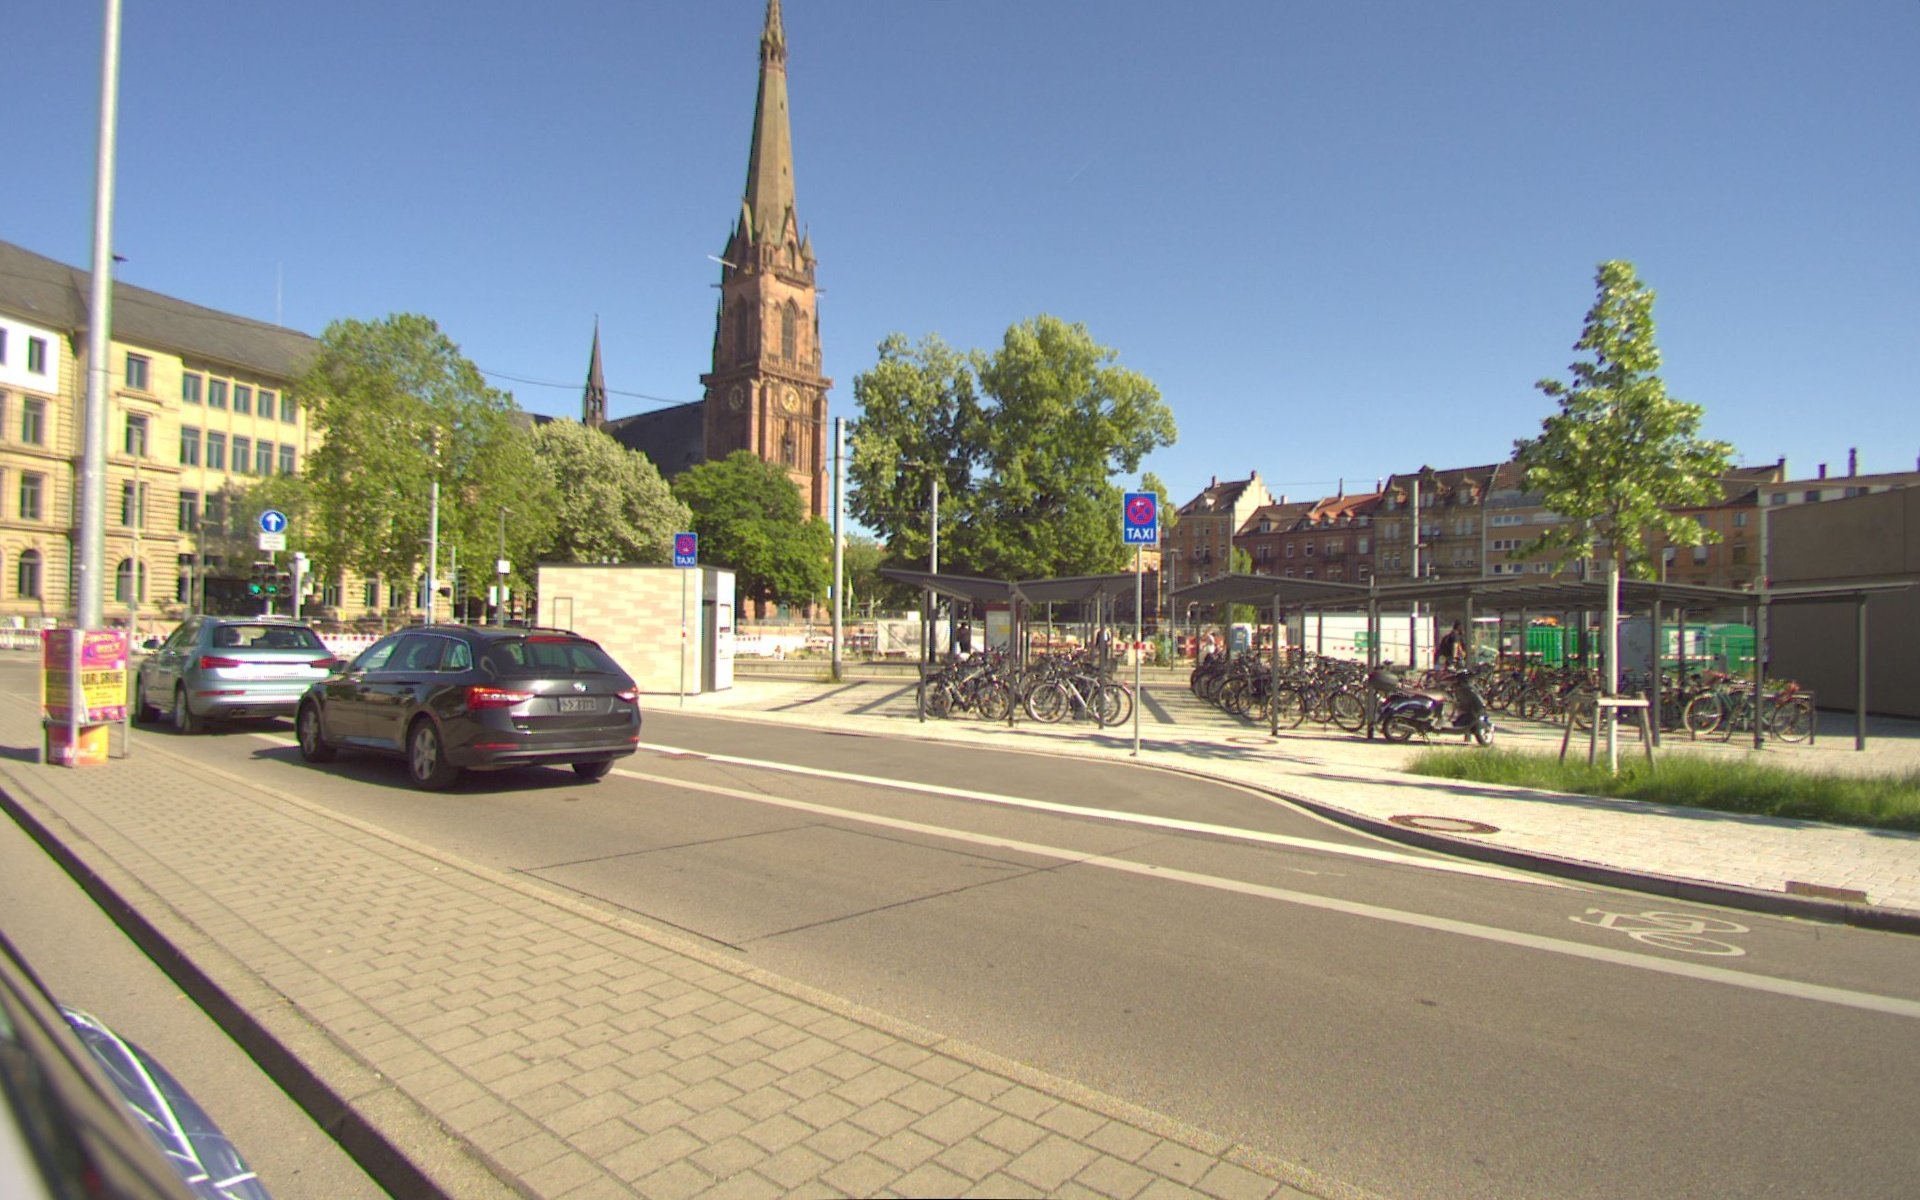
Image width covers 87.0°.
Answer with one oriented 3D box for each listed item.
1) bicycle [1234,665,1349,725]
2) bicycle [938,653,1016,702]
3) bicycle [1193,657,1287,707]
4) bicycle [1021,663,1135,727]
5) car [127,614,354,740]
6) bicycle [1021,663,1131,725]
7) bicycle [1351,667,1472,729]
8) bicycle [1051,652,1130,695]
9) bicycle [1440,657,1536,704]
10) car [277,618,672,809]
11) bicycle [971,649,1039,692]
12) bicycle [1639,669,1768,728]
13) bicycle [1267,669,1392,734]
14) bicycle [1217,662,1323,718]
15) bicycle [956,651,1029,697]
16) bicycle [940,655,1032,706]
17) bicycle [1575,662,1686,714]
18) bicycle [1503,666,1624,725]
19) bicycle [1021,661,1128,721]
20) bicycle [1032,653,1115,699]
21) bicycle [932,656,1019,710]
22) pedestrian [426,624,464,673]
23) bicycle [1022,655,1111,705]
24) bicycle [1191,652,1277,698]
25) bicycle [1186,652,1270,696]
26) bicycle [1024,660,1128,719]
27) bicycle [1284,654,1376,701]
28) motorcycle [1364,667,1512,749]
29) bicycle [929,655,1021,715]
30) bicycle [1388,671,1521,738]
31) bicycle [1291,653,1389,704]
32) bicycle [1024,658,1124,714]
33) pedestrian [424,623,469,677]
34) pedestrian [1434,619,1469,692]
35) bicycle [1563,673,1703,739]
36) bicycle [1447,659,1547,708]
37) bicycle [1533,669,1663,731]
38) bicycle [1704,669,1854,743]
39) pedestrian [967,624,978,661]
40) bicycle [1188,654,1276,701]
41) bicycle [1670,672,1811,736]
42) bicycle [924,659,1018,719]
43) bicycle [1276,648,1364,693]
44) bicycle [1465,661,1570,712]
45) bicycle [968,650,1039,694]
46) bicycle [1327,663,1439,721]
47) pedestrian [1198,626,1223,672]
[{"bbox_3d":[5.906,1.684,18.098,1.882,1.016,0.456,0,-2,8],"label":"bicycle"},{"bbox_3d":[0.377,1.691,22.229,1.652,1.016,0.456,0,-2,8],"label":"bicycle"},{"bbox_3d":[5.971,1.748,21.614,1.882,1.016,0.456,0,-2,8],"label":"bicycle"},{"bbox_3d":[1.995,1.603,17.119,1.882,1.016,0.456,0,-2,8],"label":"bicycle"},{"bbox_3d":[-10.446,1.021,14.576,4.241,1.554,1.835,-1,-4,44],"label":"car"},{"bbox_3d":[2.025,1.625,17.679,1.882,1.016,0.456,0,-2,8],"label":"bicycle"},{"bbox_3d":[7.900,1.710,17.768,1.882,1.016,0.456,0,-2,8],"label":"bicycle"},{"bbox_3d":[3.168,1.777,24.604,1.882,1.016,0.456,0,-2,8],"label":"bicycle"},{"bbox_3d":[12.085,1.837,23.200,1.882,1.016,0.456,0,-2,8],"label":"bicycle"},{"bbox_3d":[-5.008,0.966,10.152,4.571,1.511,1.771,-1,-3,39],"label":"car"},{"bbox_3d":[1.112,1.730,24.947,1.652,1.016,0.456,0,-2,8],"label":"bicycle"},{"bbox_3d":[13.475,1.778,18.370,1.882,1.016,0.456,0,-2,8],"label":"bicycle"},{"bbox_3d":[6.127,1.683,16.845,1.882,1.016,0.456,0,-2,8],"label":"bicycle"},{"bbox_3d":[5.903,1.709,19.328,1.882,1.016,0.456,0,-2,8],"label":"bicycle"},{"bbox_3d":[0.752,1.711,23.487,1.652,1.016,0.456,0,-2,8],"label":"bicycle"},{"bbox_3d":[0.549,1.676,21.231,1.882,1.016,0.456,0,-2,8],"label":"bicycle"},{"bbox_3d":[13.879,1.819,20.976,1.882,1.016,0.456,0,-2,8],"label":"bicycle"},{"bbox_3d":[11.170,1.757,18.763,1.882,1.016,0.456,0,-2,8],"label":"bicycle"},{"bbox_3d":[2.060,1.634,18.266,1.882,1.016,0.456,0,-2,8],"label":"bicycle"},{"bbox_3d":[2.612,1.749,23.309,1.882,1.016,0.456,0,-2,8],"label":"bicycle"},{"bbox_3d":[0.311,1.621,19.893,1.652,1.016,0.456,0,-2,8],"label":"bicycle"},{"bbox_3d":[-19.086,1.782,37.509,0.802,1.793,0.965,-1,-2,40],"label":"pedestrian"},{"bbox_3d":[2.303,1.723,21.926,1.882,1.016,0.456,0,-2,8],"label":"bicycle"},{"bbox_3d":[6.372,1.733,23.572,1.882,1.016,0.456,0,-2,8],"label":"bicycle"},{"bbox_3d":[6.399,1.763,24.230,1.882,1.016,0.456,0,-2,8],"label":"bicycle"},{"bbox_3d":[2.143,1.646,18.749,1.882,1.016,0.456,0,-2,8],"label":"bicycle"},{"bbox_3d":[8.322,1.736,22.823,1.882,1.016,0.456,0,-2,8],"label":"bicycle"},{"bbox_3d":[7.167,1.603,15.231,1.924,1.160,0.516,0,-2,6],"label":"motorcycle"},{"bbox_3d":[0.286,1.565,18.782,1.652,1.069,0.456,0,-2,8],"label":"bicycle"},{"bbox_3d":[8.034,1.692,16.499,1.882,1.016,0.456,0,-2,8],"label":"bicycle"},{"bbox_3d":[8.063,1.662,21.525,1.882,1.016,0.456,0,-2,8],"label":"bicycle"},{"bbox_3d":[2.202,1.660,19.590,1.882,1.016,0.456,0,-2,8],"label":"bicycle"},{"bbox_3d":[-17.347,1.666,34.213,1.130,1.793,0.965,-1,-2,40],"label":"pedestrian"},{"bbox_3d":[12.720,1.433,26.204,0.676,1.848,0.564,0,-2,8],"label":"pedestrian"},{"bbox_3d":[10.978,1.719,16.542,1.882,1.016,0.456,0,-2,8],"label":"bicycle"},{"bbox_3d":[11.790,1.826,22.249,1.882,1.016,0.456,0,-2,8],"label":"bicycle"},{"bbox_3d":[11.107,1.733,17.647,1.882,1.016,0.456,0,-2,8],"label":"bicycle"},{"bbox_3d":[13.088,1.686,16.211,1.882,1.106,0.456,0,-2,8],"label":"bicycle"},{"bbox_3d":[0.591,1.995,47.621,0.399,1.734,0.419,1,-2,-11],"label":"pedestrian"},{"bbox_3d":[6.155,1.739,22.948,1.882,1.016,0.456,0,-2,8],"label":"bicycle"},{"bbox_3d":[13.134,1.744,17.071,1.882,1.016,0.456,0,-2,8],"label":"bicycle"},{"bbox_3d":[0.207,1.586,18.196,1.652,1.016,0.456,0,-2,8],"label":"bicycle"},{"bbox_3d":[8.492,1.653,23.915,1.882,1.016,0.456,0,-2,8],"label":"bicycle"},{"bbox_3d":[11.720,1.815,21.318,1.882,1.016,0.456,0,-2,8],"label":"bicycle"},{"bbox_3d":[1.048,1.716,24.231,1.652,1.016,0.456,0,-2,8],"label":"bicycle"},{"bbox_3d":[7.924,1.713,19.001,1.882,1.016,0.456,0,-2,8],"label":"bicycle"},{"bbox_3d":[10.028,1.944,40.528,0.792,1.793,0.977,0,-2,3],"label":"pedestrian"}]
